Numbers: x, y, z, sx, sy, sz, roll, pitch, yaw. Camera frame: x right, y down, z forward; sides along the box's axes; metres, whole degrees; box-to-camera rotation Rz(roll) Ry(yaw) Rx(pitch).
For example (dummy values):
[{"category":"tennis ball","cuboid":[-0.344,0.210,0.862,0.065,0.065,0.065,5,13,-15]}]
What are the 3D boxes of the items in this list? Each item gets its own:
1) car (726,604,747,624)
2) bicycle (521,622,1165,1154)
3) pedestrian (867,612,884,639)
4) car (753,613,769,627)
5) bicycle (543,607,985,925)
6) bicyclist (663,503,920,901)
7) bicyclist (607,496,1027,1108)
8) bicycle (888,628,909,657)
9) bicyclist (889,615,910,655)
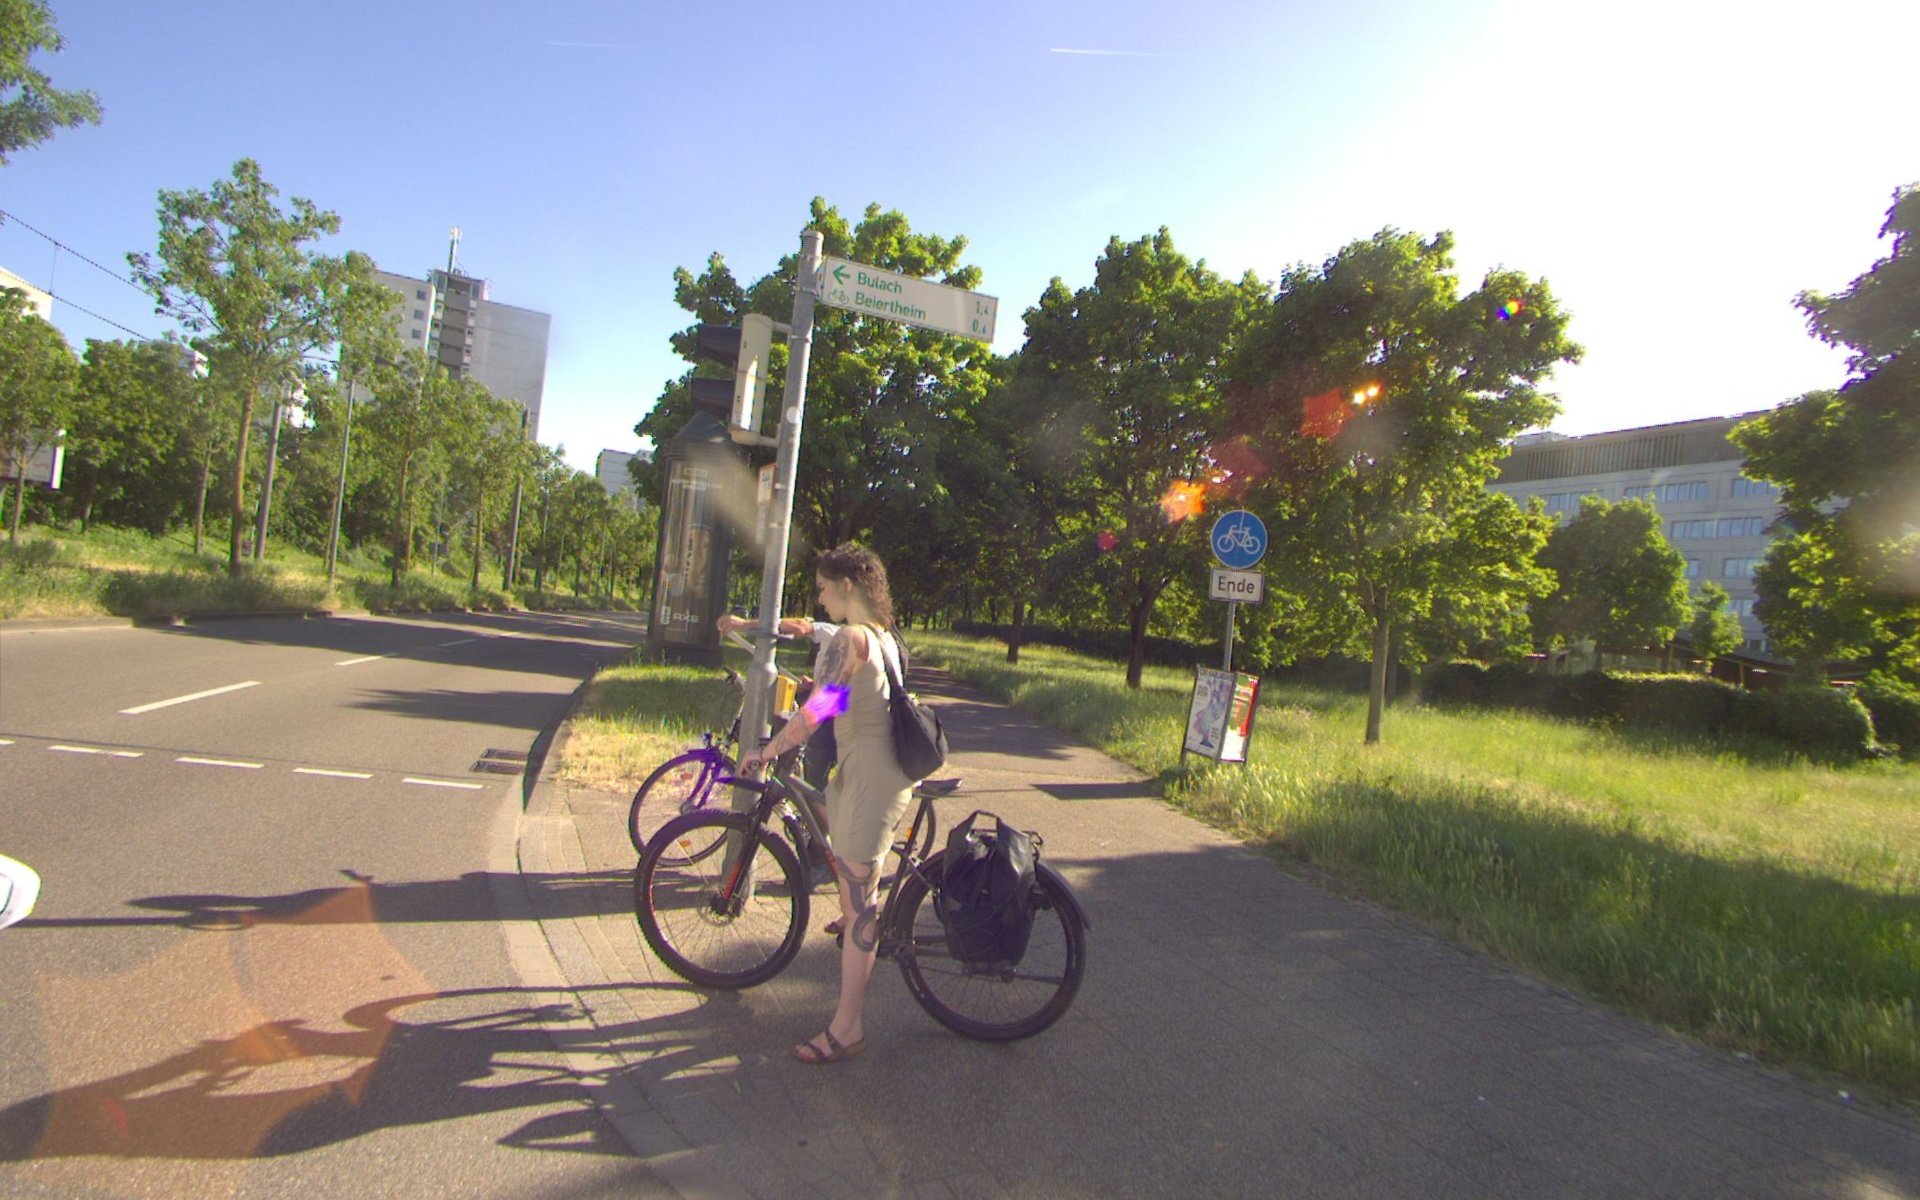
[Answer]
[{"category":"car","cuboid":[-21.485,1.323,96.662,1.665,1.595,3.870,6,-4,-10]},{"category":"bicycle","cuboid":[-0.383,0.890,3.655,2.039,1.364,0.793,7,0,14]},{"category":"pedestrian","cuboid":[-5.729,1.736,67.987,0.729,1.747,0.885,7,0,-20]},{"category":"car","cuboid":[-25.872,2.595,130.680,1.664,1.595,3.872,6,-4,-8]},{"category":"bicycle","cuboid":[-1.097,0.866,5.755,2.219,1.364,0.793,7,0,14]},{"category":"bicyclist","cuboid":[-0.923,0.537,5.706,0.992,1.983,0.793,7,0,14]},{"category":"bicyclist","cuboid":[-0.474,0.644,3.694,1.114,1.846,0.793,7,0,14]},{"category":"bicycle","cuboid":[-2.601,1.789,42.486,0.662,1.068,1.810,7,-1,-7]},{"category":"bicyclist","cuboid":[-2.556,1.458,42.464,0.662,1.605,1.003,7,0,-8]}]
